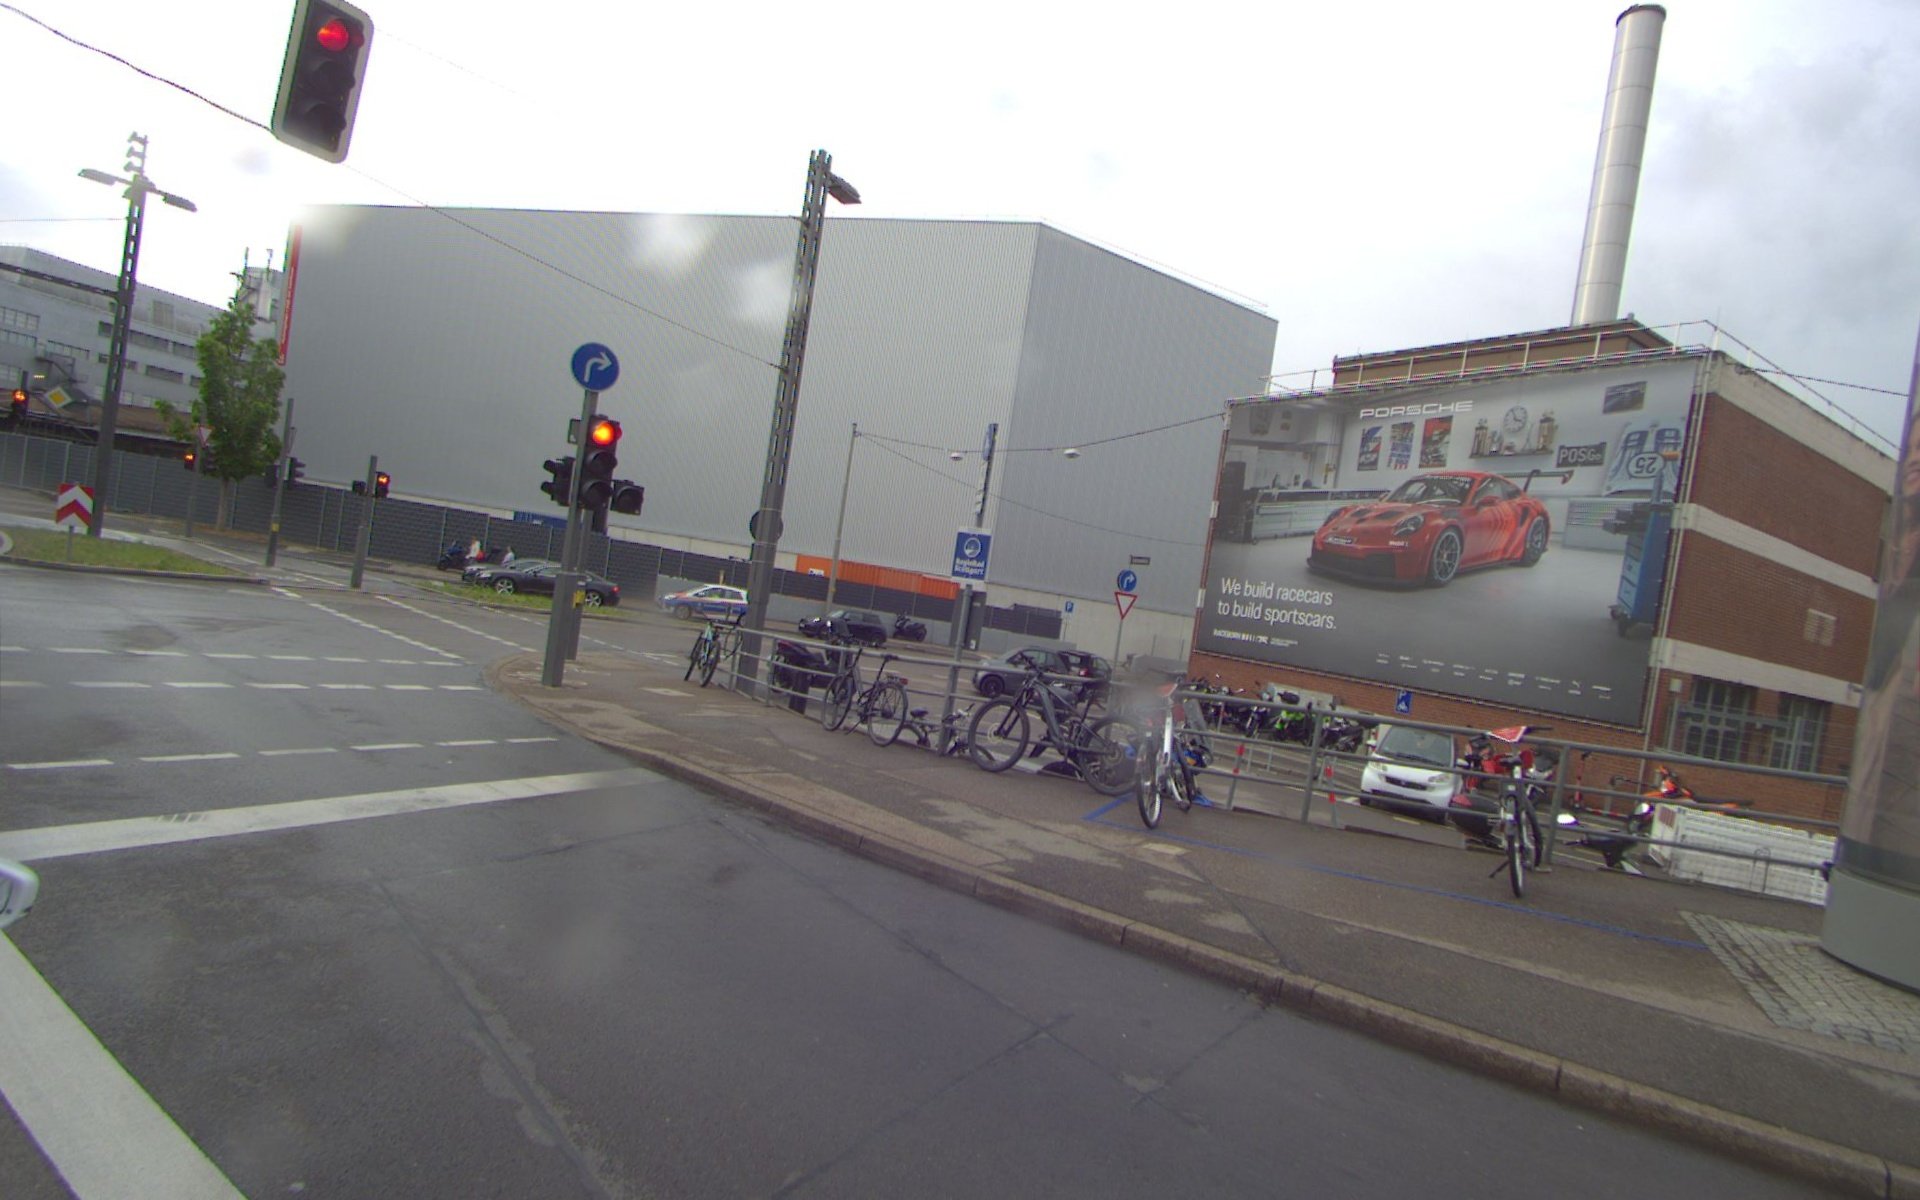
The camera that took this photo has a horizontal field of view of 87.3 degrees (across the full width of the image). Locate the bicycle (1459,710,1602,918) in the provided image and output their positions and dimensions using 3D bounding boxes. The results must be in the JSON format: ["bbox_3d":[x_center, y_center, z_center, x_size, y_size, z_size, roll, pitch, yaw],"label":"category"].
[{"bbox_3d":[4.138,1.480,7.418,0.581,1.176,1.805,6,0,23],"label":"bicycle"}]

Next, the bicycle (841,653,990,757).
[{"bbox_3d":[-0.537,1.176,11.517,1.789,0.916,0.530,6,-1,44],"label":"bicycle"}]

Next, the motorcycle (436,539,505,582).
[{"bbox_3d":[-19.760,-1.584,40.597,2.335,1.360,0.648,8,0,-30],"label":"motorcycle"}]

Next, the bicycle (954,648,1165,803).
[{"bbox_3d":[0.910,1.155,9.650,1.969,1.176,0.385,6,0,35],"label":"bicycle"}]

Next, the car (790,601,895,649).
[{"bbox_3d":[-5.032,1.077,43.115,3.958,1.408,1.744,10,-1,-29],"label":"car"}]

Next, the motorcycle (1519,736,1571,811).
[{"bbox_3d":[12.478,3.670,21.433,0.564,1.327,1.863,10,3,37],"label":"motorcycle"}]

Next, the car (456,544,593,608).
[{"bbox_3d":[-15.638,-0.841,36.155,4.254,1.557,1.744,10,-1,-29],"label":"car"}]

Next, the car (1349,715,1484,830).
[{"bbox_3d":[8.504,3.083,18.589,1.665,1.499,3.555,10,1,31],"label":"car"}]

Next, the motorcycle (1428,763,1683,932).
[{"bbox_3d":[5.133,2.114,8.808,1.718,1.002,0.699,8,0,21],"label":"motorcycle"}]

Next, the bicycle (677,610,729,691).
[{"bbox_3d":[-4.108,0.778,16.023,0.381,1.111,1.740,6,0,-25],"label":"bicycle"}]

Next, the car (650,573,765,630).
[{"bbox_3d":[-10.084,0.078,40.190,3.939,1.620,1.898,10,-1,-29],"label":"car"}]

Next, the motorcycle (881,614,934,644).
[{"bbox_3d":[-2.697,1.472,51.688,2.471,1.200,0.991,8,-1,-34],"label":"motorcycle"}]

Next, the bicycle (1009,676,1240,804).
[{"bbox_3d":[1.645,1.379,10.249,2.138,0.916,0.693,6,-1,32],"label":"bicycle"}]

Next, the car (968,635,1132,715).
[{"bbox_3d":[2.401,2.014,27.453,4.091,1.547,1.836,8,-2,-3],"label":"car"}]

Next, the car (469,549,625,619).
[{"bbox_3d":[-13.736,-0.521,33.504,4.536,1.557,1.744,10,-1,-29],"label":"car"}]

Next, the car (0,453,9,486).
[{"bbox_3d":[-60.121,-8.187,60.466,1.969,1.993,4.880,7,0,-14],"label":"car"}]

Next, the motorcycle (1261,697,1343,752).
[{"bbox_3d":[8.517,3.108,25.058,1.999,1.206,0.605,6,3,-29],"label":"motorcycle"}]

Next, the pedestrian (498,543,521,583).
[{"bbox_3d":[-17.856,-1.451,39.867,0.642,1.499,0.436,7,0,-25],"label":"pedestrian"}]

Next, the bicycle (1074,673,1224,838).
[{"bbox_3d":[1.636,1.234,8.445,0.666,1.154,1.774,6,-1,27],"label":"bicycle"}]

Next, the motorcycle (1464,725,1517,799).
[{"bbox_3d":[11.668,3.526,22.100,0.677,1.327,2.016,9,3,33],"label":"motorcycle"}]

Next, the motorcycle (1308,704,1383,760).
[{"bbox_3d":[9.316,3.183,24.287,2.005,1.206,0.603,6,3,-38],"label":"motorcycle"}]

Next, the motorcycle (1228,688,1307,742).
[{"bbox_3d":[7.992,2.985,26.102,1.999,1.206,0.605,6,3,-29],"label":"motorcycle"}]

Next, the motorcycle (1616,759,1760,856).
[{"bbox_3d":[14.111,3.978,19.538,0.922,1.327,1.961,5,4,-41],"label":"motorcycle"}]

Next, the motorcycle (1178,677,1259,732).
[{"bbox_3d":[7.249,2.925,28.233,1.987,1.206,0.608,7,3,-4],"label":"motorcycle"}]

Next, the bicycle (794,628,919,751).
[{"bbox_3d":[-1.193,0.971,11.263,0.383,1.133,1.731,6,0,-39],"label":"bicycle"}]

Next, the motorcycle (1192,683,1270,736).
[{"bbox_3d":[7.290,2.947,27.080,1.998,1.206,0.605,6,3,-27],"label":"motorcycle"}]

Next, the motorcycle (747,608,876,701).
[{"bbox_3d":[-2.677,1.028,18.382,0.746,1.469,2.225,8,-1,42],"label":"motorcycle"}]

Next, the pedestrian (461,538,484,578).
[{"bbox_3d":[-19.316,-1.656,39.867,0.605,1.499,0.421,7,0,-23],"label":"pedestrian"}]
